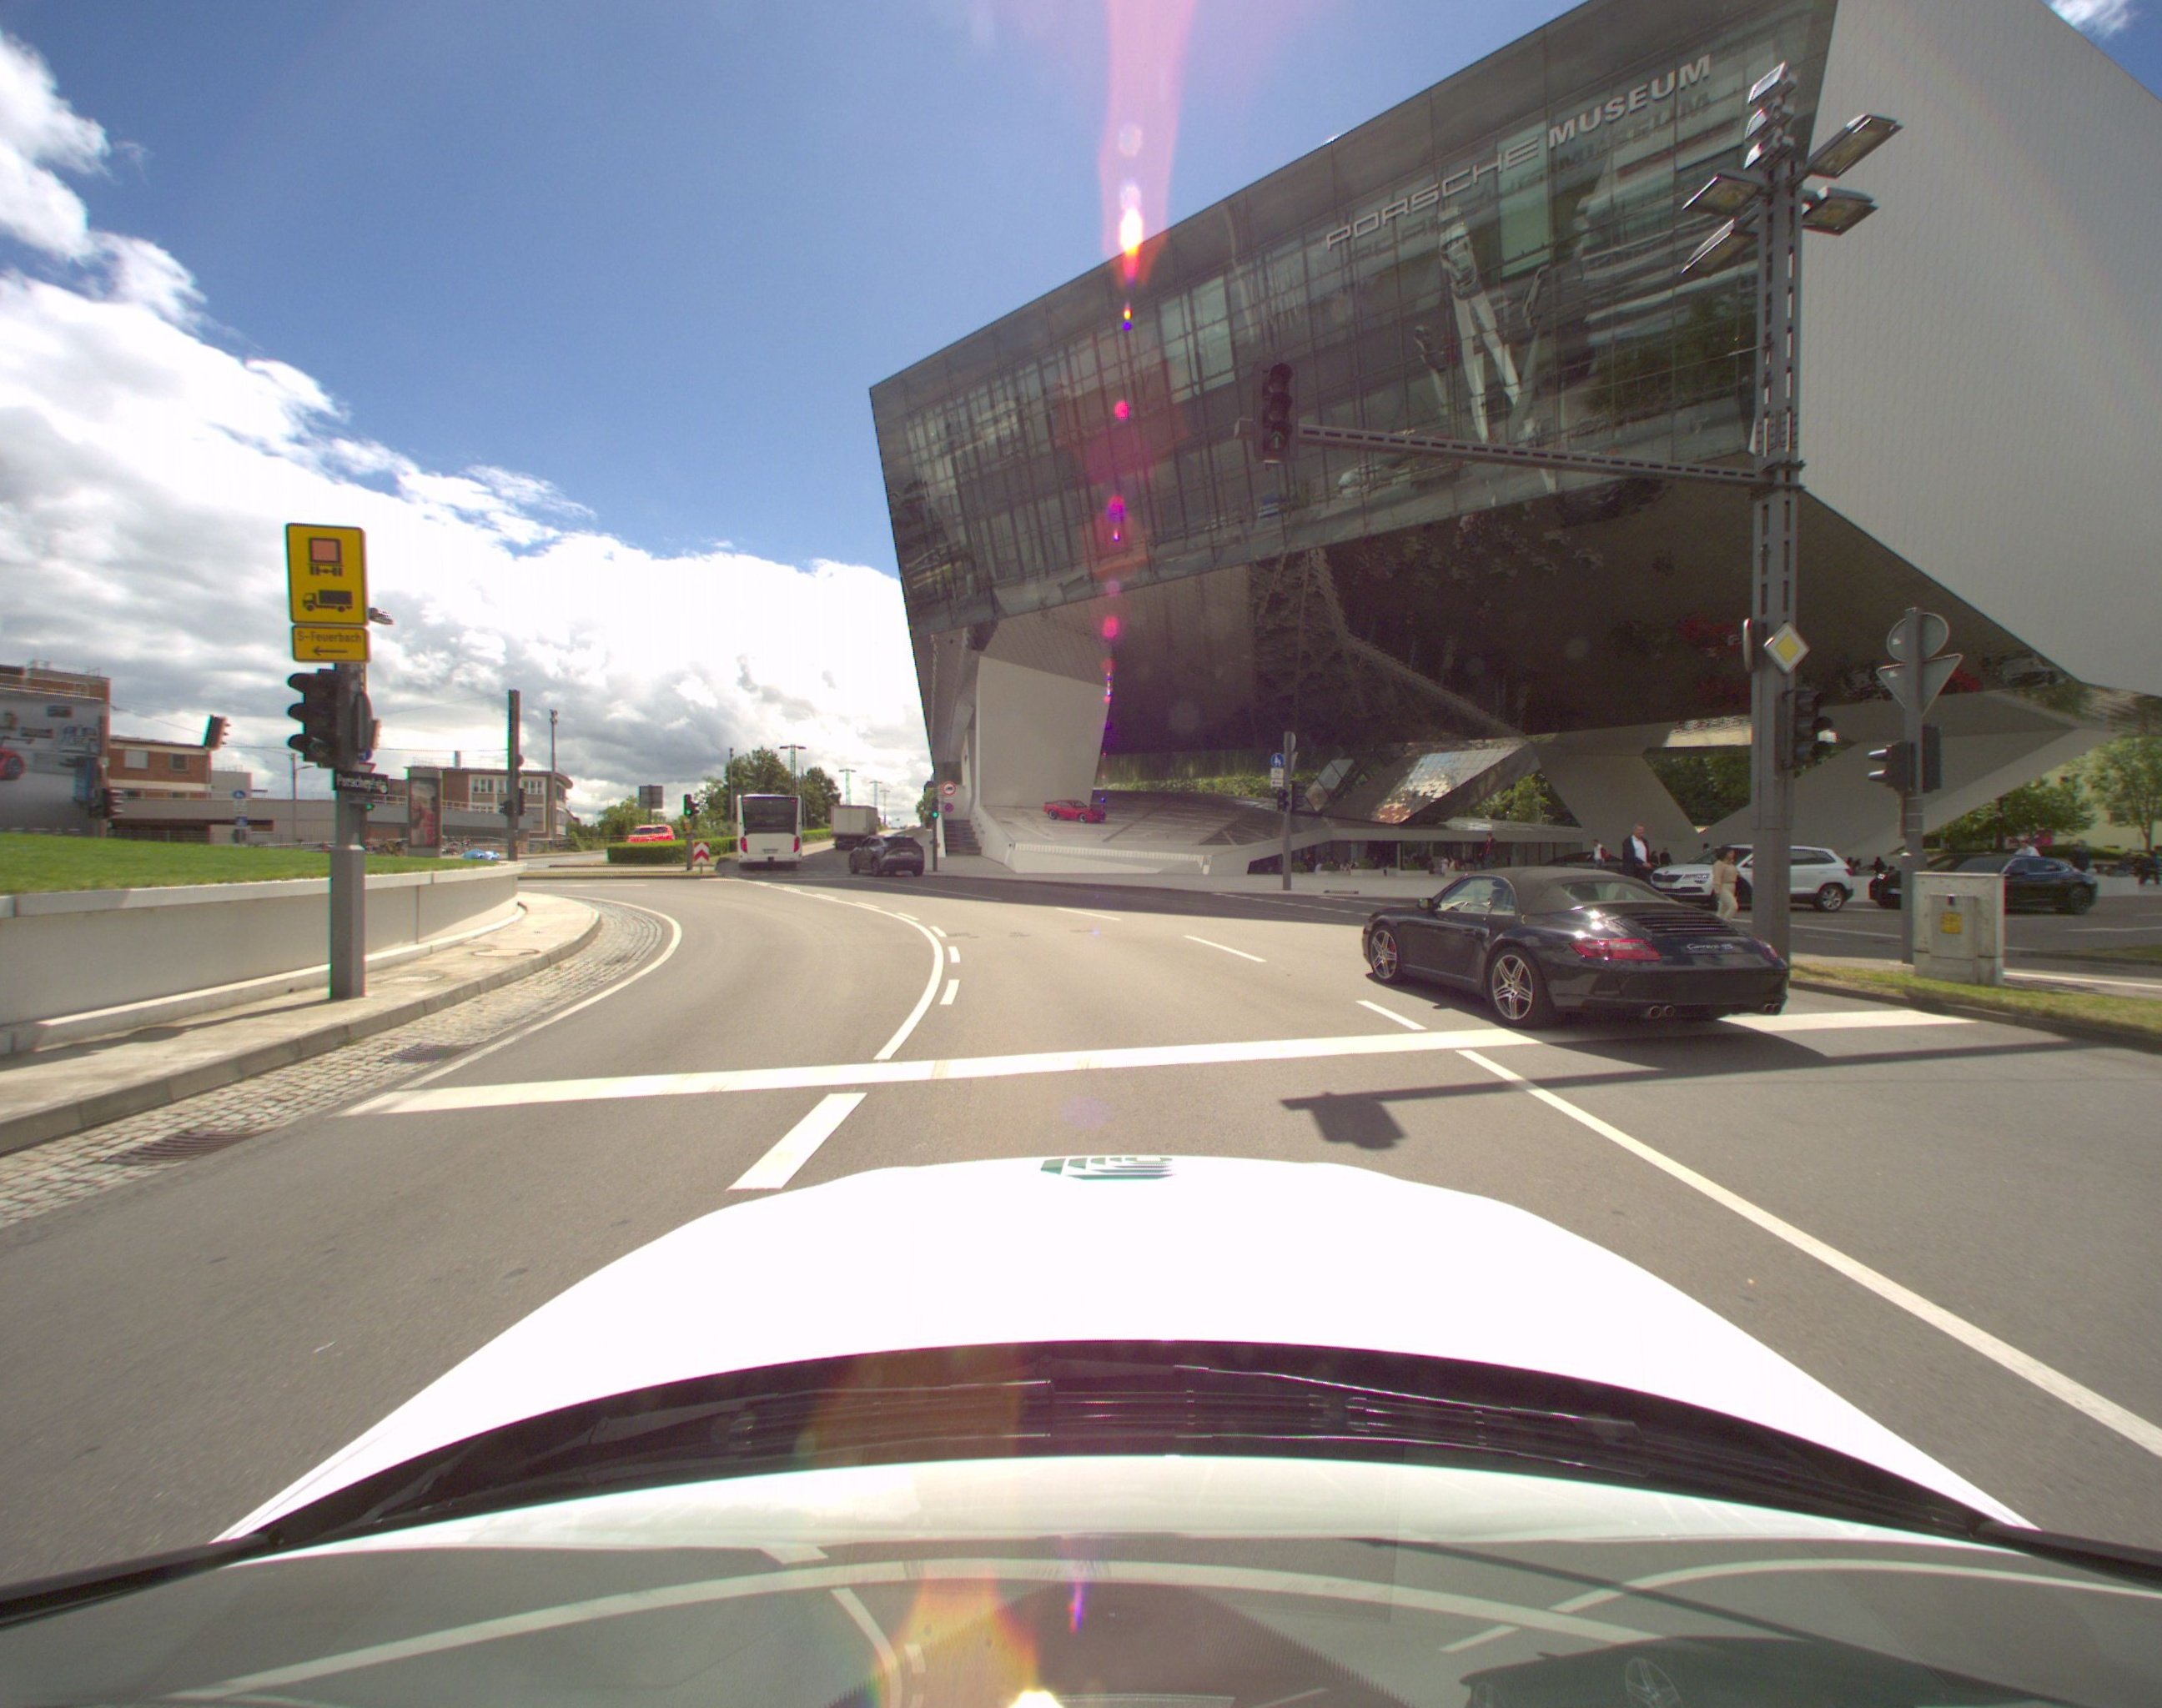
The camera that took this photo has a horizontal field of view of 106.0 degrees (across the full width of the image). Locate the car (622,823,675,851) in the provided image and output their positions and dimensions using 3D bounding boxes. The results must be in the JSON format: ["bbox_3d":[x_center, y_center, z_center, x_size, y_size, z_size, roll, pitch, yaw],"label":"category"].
[{"bbox_3d":[-32.680,-1.302,61.651,1.993,1.983,4.823,-1,1,-8],"label":"car"}]

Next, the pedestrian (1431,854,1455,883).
[{"bbox_3d":[20.002,0.775,44.993,0.830,1.573,0.918,1,-1,-18],"label":"pedestrian"}]

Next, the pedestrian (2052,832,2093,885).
[{"bbox_3d":[38.405,0.165,31.554,0.767,2.014,0.832,0,-1,29],"label":"pedestrian"}]

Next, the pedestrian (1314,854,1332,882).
[{"bbox_3d":[13.517,0.787,45.484,0.913,1.573,0.834,1,-1,17],"label":"pedestrian"}]

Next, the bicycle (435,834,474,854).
[{"bbox_3d":[-38.120,-0.632,49.595,1.738,1.182,0.667,1,0,-11],"label":"bicycle"}]

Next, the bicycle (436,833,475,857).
[{"bbox_3d":[-37.625,-0.536,49.008,1.737,1.381,0.667,1,-1,-10],"label":"bicycle"}]

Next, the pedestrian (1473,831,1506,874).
[{"bbox_3d":[17.479,-0.061,34.850,0.830,1.826,0.917,1,-1,-18],"label":"pedestrian"}]

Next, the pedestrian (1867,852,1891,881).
[{"bbox_3d":[47.798,0.744,48.765,0.829,1.739,0.770,2,-1,-25],"label":"pedestrian"}]

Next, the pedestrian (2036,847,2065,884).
[{"bbox_3d":[53.396,0.658,44.853,0.828,2.014,0.771,1,-1,-20],"label":"pedestrian"}]

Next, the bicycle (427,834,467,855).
[{"bbox_3d":[-37.985,-0.590,48.787,1.739,1.181,0.667,1,5,-13],"label":"bicycle"}]

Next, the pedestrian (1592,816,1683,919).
[{"bbox_3d":[11.257,0.245,16.529,0.948,1.984,1.384,1,1,7],"label":"pedestrian"}]

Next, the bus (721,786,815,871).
[{"bbox_3d":[-15.237,-1.296,38.929,3.088,3.361,12.122,2,2,-26],"label":"bus"}]

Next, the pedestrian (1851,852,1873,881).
[{"bbox_3d":[47.593,0.750,49.631,0.829,1.739,0.770,2,-1,-26],"label":"pedestrian"}]

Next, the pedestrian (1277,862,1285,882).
[{"bbox_3d":[12.793,1.139,52.087,0.469,1.253,0.564,1,-1,13],"label":"pedestrian"}]

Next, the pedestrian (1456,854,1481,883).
[{"bbox_3d":[21.382,0.805,44.907,0.830,1.573,0.918,1,-1,-18],"label":"pedestrian"}]

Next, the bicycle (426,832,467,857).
[{"bbox_3d":[-37.452,-0.548,48.062,1.737,1.381,0.667,1,-1,-10],"label":"bicycle"}]

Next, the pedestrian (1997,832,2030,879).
[{"bbox_3d":[40.302,0.070,35.196,0.829,2.014,0.770,2,-1,-28],"label":"pedestrian"}]

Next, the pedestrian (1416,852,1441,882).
[{"bbox_3d":[18.906,0.706,44.283,0.830,1.573,0.918,1,-1,-18],"label":"pedestrian"}]

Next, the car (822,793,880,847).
[{"bbox_3d":[-17.112,-2.368,61.187,3.337,3.504,9.304,1,-1,-11],"label":"car"}]

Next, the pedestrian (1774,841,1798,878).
[{"bbox_3d":[38.902,0.288,44.936,0.829,2.014,0.770,2,-2,-28],"label":"pedestrian"}]

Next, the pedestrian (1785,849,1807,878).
[{"bbox_3d":[44.071,0.588,50.210,0.829,1.739,0.770,2,-1,-28],"label":"pedestrian"}]

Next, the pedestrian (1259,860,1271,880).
[{"bbox_3d":[11.417,0.980,50.560,0.554,1.253,0.477,0,-1,31],"label":"pedestrian"}]

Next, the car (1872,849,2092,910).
[{"bbox_3d":[22.000,0.608,19.940,4.149,1.383,1.831,1,1,-13],"label":"car"}]

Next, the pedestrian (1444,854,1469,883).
[{"bbox_3d":[20.284,0.773,44.044,0.830,1.573,0.918,1,-1,-18],"label":"pedestrian"}]

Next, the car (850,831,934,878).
[{"bbox_3d":[-7.481,-0.020,32.035,2.007,1.636,3.961,0,3,-32],"label":"car"}]

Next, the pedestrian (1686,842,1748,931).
[{"bbox_3d":[11.043,0.548,14.147,0.586,1.496,0.762,2,-1,-42],"label":"pedestrian"}]

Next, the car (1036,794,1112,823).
[{"bbox_3d":[-0.478,-2.896,51.205,4.457,1.394,2.013,9,9,37],"label":"car"}]

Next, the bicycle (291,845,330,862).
[{"bbox_3d":[-41.041,-0.022,43.379,0.489,0.866,1.611,0,-1,2],"label":"bicycle"}]

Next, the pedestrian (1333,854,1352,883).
[{"bbox_3d":[14.367,0.792,44.765,0.786,1.573,0.697,0,-2,42],"label":"pedestrian"}]

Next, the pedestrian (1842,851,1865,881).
[{"bbox_3d":[45.829,0.699,48.318,0.829,1.739,0.770,2,-1,-28],"label":"pedestrian"}]

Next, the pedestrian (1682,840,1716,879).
[{"bbox_3d":[25.179,0.216,33.192,0.785,1.541,0.800,1,-1,-14],"label":"pedestrian"}]

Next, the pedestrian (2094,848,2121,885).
[{"bbox_3d":[56.293,0.703,44.654,0.829,2.014,0.770,2,-1,-28],"label":"pedestrian"}]

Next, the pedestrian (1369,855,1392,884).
[{"bbox_3d":[16.706,0.871,45.438,0.830,1.573,0.918,1,-1,-18],"label":"pedestrian"}]

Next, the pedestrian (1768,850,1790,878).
[{"bbox_3d":[43.978,0.601,51.325,0.829,1.739,0.770,2,-1,-25],"label":"pedestrian"}]

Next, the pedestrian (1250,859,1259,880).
[{"bbox_3d":[10.613,0.956,49.864,0.393,1.253,0.562,1,-1,1],"label":"pedestrian"}]

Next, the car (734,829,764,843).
[{"bbox_3d":[-34.957,-1.931,85.871,1.754,1.397,4.662,1,2,-8],"label":"car"}]

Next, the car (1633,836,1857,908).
[{"bbox_3d":[15.834,0.415,19.555,3.978,1.550,1.836,-1,-1,-4],"label":"car"}]

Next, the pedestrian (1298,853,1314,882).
[{"bbox_3d":[12.327,0.753,44.669,0.822,1.573,0.926,1,-1,13],"label":"pedestrian"}]

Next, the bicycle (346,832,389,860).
[{"bbox_3d":[-37.023,-0.409,42.272,1.606,1.382,0.491,1,-1,-11],"label":"bicycle"}]

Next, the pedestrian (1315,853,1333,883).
[{"bbox_3d":[13.162,0.762,44.165,0.913,1.573,0.834,1,-1,17],"label":"pedestrian"}]

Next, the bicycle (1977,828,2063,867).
[{"bbox_3d":[32.298,-0.214,28.037,1.909,1.274,0.782,1,-1,7],"label":"bicycle"}]

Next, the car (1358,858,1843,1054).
[{"bbox_3d":[4.345,0.713,7.696,1.831,1.325,3.993,0,0,-5],"label":"car"}]

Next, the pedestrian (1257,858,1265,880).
[{"bbox_3d":[10.387,0.878,46.984,0.393,1.253,0.400,1,-1,1],"label":"pedestrian"}]

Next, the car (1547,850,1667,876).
[{"bbox_3d":[26.038,0.444,40.419,2.011,1.221,4.622,2,-1,-42],"label":"car"}]

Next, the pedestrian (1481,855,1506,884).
[{"bbox_3d":[22.702,0.828,44.851,0.828,1.573,0.919,1,-1,-12],"label":"pedestrian"}]

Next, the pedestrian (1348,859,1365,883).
[{"bbox_3d":[14.953,0.923,44.229,0.636,1.318,0.698,0,-1,39],"label":"pedestrian"}]

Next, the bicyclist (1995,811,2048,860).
[{"bbox_3d":[32.342,-0.624,28.024,0.929,1.653,0.774,1,-1,7],"label":"bicyclist"}]

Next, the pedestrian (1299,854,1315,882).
[{"bbox_3d":[12.700,0.777,45.808,0.821,1.573,0.927,1,-1,18],"label":"pedestrian"}]

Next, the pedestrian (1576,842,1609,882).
[{"bbox_3d":[22.322,0.349,35.530,0.830,1.676,0.917,1,-1,-18],"label":"pedestrian"}]
